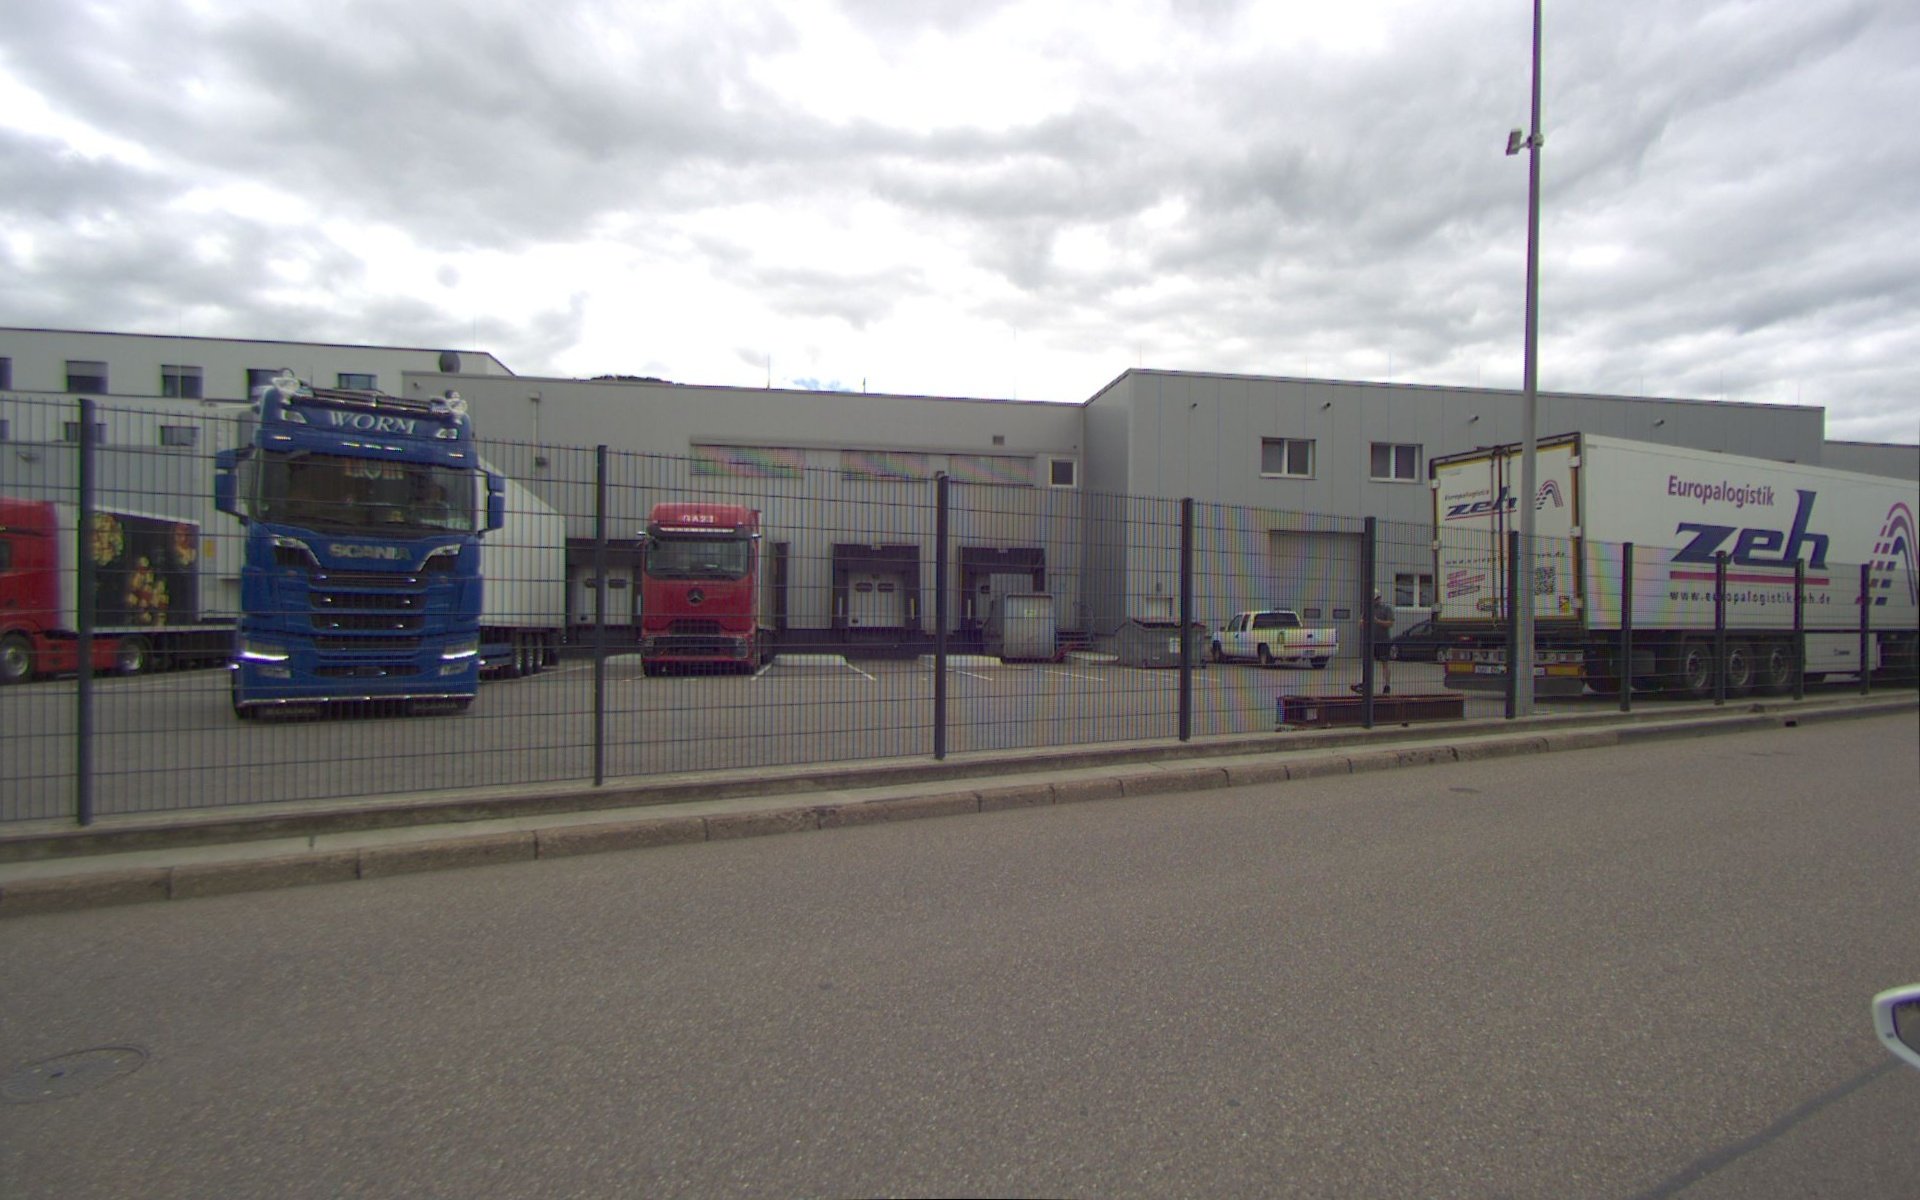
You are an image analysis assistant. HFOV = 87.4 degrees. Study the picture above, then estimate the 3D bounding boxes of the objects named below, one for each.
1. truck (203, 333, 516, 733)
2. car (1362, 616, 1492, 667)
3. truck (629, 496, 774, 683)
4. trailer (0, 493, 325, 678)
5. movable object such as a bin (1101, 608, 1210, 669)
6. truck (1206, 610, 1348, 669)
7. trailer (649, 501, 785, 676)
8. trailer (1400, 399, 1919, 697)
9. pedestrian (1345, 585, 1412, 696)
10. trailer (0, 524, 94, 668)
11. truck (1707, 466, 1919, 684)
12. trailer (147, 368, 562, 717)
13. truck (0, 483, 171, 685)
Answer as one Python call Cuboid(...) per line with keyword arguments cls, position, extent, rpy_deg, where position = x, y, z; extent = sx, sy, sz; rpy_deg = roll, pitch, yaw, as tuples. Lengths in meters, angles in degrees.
Cuboid(cls="truck", position=(-8.117, -0.645, 13.347), extent=(2.903, 4.074, 5.558), rpy_deg=(1, -1, -36))
Cuboid(cls="car", position=(15.342, 1.327, 33.261), extent=(1.964, 1.572, 3.993), rpy_deg=(1, -1, -10))
Cuboid(cls="truck", position=(-6.080, -0.167, 24.519), extent=(2.751, 3.980, 5.917), rpy_deg=(1, -1, -8))
Cuboid(cls="trailer", position=(-21.765, -0.232, 28.011), extent=(2.742, 4.131, 10.977), rpy_deg=(1, -1, -10))
Cuboid(cls="movable object such as a bin", position=(6.005, 1.155, 31.289), extent=(2.117, 1.759, 3.995), rpy_deg=(1, -1, -8))
Cuboid(cls="truck", position=(9.626, 1.166, 31.001), extent=(2.187, 1.674, 4.920), rpy_deg=(1, -1, -10))
Cuboid(cls="trailer", position=(-6.946, -0.174, 30.595), extent=(2.733, 4.162, 13.075), rpy_deg=(1, -1, -8))
Cuboid(cls="trailer", position=(14.456, -0.487, 19.101), extent=(13.842, 4.315, 3.122), rpy_deg=(2, -5, -28))
Cuboid(cls="pedestrian", position=(7.210, 0.692, 17.304), extent=(0.813, 1.854, 0.695), rpy_deg=(1, 0, -26))
Cuboid(cls="trailer", position=(-28.461, -0.170, 26.799), extent=(2.742, 4.131, 10.977), rpy_deg=(1, -1, -10))
Cuboid(cls="truck", position=(20.167, -0.295, 22.119), extent=(6.853, 4.169, 3.118), rpy_deg=(1, -5, -27))
Cuboid(cls="trailer", position=(-10.189, -0.597, 19.357), extent=(2.986, 4.239, 13.976), rpy_deg=(1, -1, -15))
Cuboid(cls="truck", position=(-20.696, -0.313, 22.017), extent=(2.752, 3.980, 5.916), rpy_deg=(1, -1, -9))
